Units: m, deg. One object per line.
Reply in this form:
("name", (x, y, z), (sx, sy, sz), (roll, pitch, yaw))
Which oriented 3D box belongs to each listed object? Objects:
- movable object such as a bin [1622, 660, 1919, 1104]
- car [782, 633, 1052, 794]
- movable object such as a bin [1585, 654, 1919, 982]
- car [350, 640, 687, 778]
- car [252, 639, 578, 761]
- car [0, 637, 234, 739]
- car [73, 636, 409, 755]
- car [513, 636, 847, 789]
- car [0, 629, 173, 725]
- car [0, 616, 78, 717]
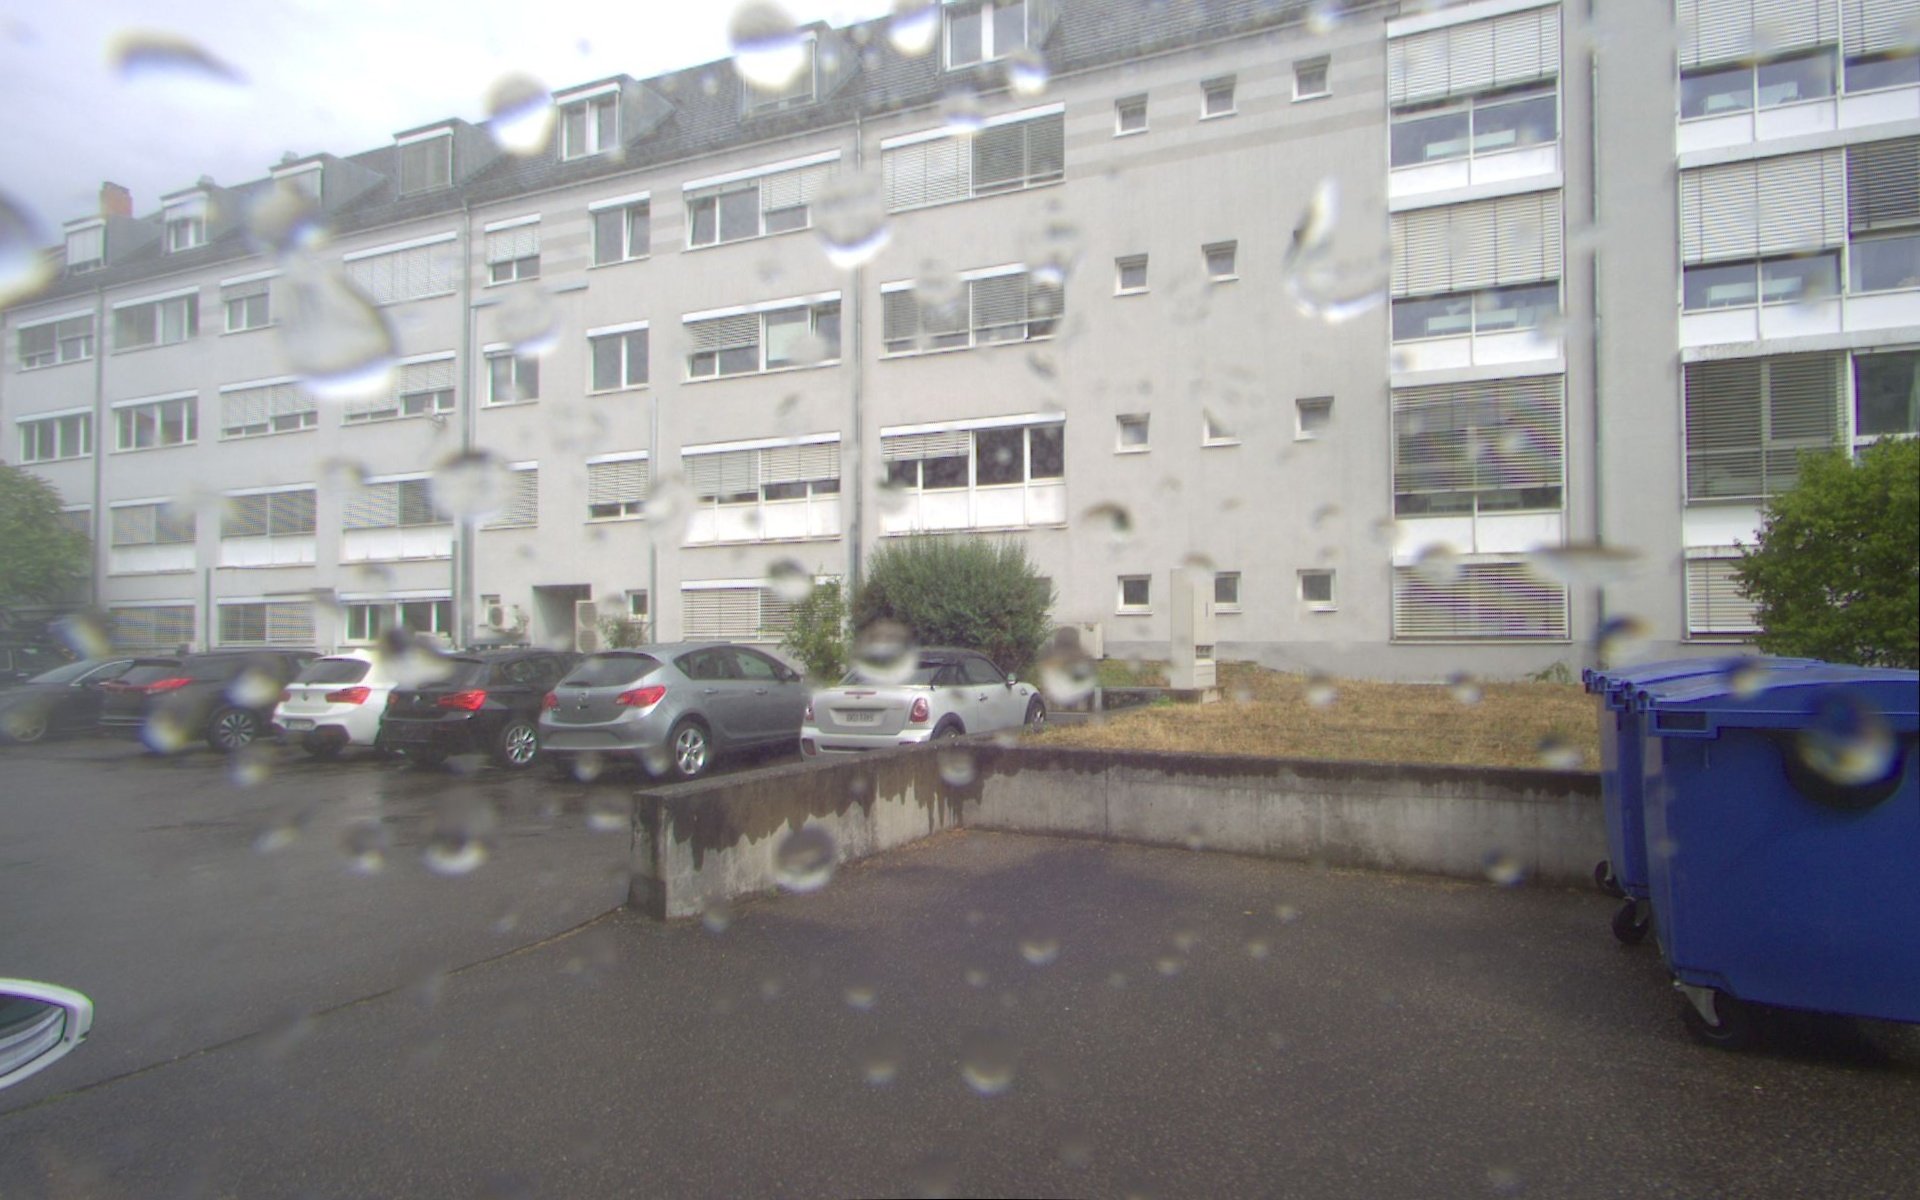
("movable object such as a bin", (3.184, 0.906, 3.733), (1.066, 1.321, 1.371), (-1, -2, 29))
("car", (-0.325, 1.144, 11.326), (1.661, 1.445, 3.416), (-2, -1, 25))
("movable object such as a bin", (3.763, 0.938, 4.897), (1.090, 1.321, 1.185), (-1, -2, 28))
("car", (-5.574, 1.286, 13.223), (1.743, 1.421, 3.990), (-1, -1, 23))
("car", (-7.684, 1.329, 14.566), (1.743, 1.477, 3.991), (-1, -2, 22))
("car", (-15.079, 1.442, 17.198), (1.722, 1.533, 3.912), (-1, -2, 22))
("car", (-10.886, 1.365, 15.521), (1.788, 1.533, 3.914), (-1, -2, 20))
("car", (-3.164, 1.205, 12.167), (1.777, 1.464, 3.989), (-1, -1, 24))
("car", (-17.725, 1.429, 19.081), (1.788, 1.709, 3.909), (-1, -2, 26))
("car", (-20.593, 1.318, 19.539), (2.185, 2.029, 4.645), (0, -1, 17))
